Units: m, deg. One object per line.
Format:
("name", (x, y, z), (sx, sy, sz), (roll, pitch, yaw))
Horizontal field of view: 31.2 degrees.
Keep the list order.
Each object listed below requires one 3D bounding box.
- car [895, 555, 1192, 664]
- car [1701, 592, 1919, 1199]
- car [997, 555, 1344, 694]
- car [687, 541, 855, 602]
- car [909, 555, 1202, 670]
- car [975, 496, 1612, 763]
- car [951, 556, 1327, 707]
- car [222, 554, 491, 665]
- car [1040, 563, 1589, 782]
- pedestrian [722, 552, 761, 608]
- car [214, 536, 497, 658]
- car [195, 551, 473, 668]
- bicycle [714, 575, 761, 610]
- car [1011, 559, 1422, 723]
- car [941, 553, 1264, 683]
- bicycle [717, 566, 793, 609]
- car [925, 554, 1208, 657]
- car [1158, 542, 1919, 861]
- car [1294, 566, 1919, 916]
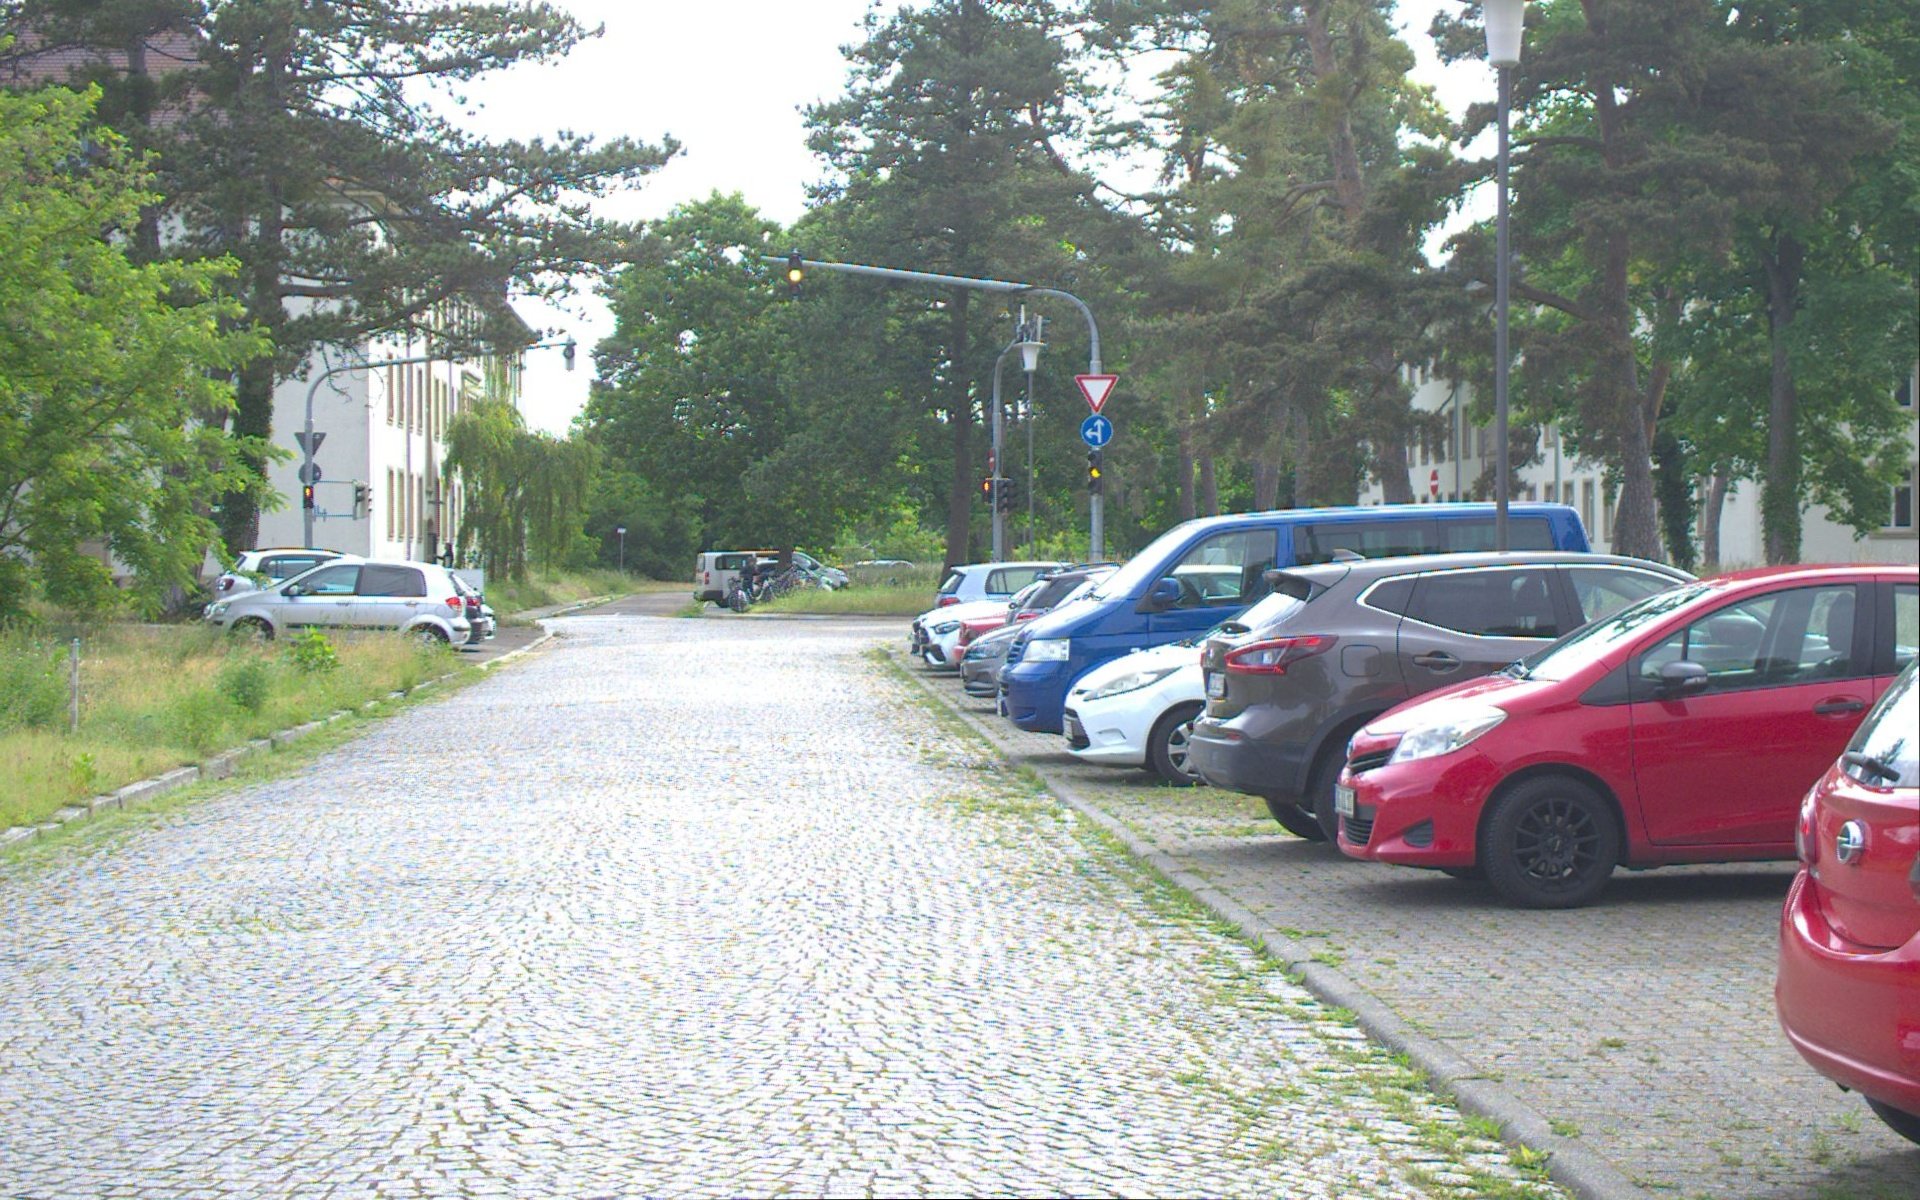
("car", (1.159, 0.124, 48.574), (3.967, 1.416, 1.620), (-1, 0, -7))
("car", (3.936, 0.684, 8.307), (3.825, 1.455, 1.779), (-1, 0, -4))
("car", (2.330, 0.257, 38.523), (3.671, 1.444, 1.524), (-1, 0, -5))
("car", (-6.479, -0.973, 117.757), (5.444, 2.007, 2.269), (1, 0, -12))
("car", (1.250, 0.152, 45.719), (3.671, 1.416, 1.524), (-1, 0, -7))
("car", (2.598, 0.211, 27.473), (4.753, 1.948, 1.932), (-1, 0, -5))
("car", (1.814, 0.308, 35.502), (3.671, 1.444, 1.524), (-1, 0, -5))
("car", (-9.096, 0.136, 52.031), (3.821, 1.567, 1.564), (-1, 0, -4))
("car", (2.514, 0.493, 24.874), (3.671, 1.444, 1.615), (-1, 0, -6))
("pedestrian", (-6.337, -0.572, 99.783), (1.033, 1.608, 0.758), (1, 0, -10))
("car", (-9.630, -0.061, 54.993), (4.262, 1.834, 1.744), (-1, 0, -4))
("car", (-8.989, 0.126, 49.616), (3.821, 1.567, 1.565), (-1, 0, -6))
("bicycle", (-6.199, -0.220, 95.765), (0.620, 0.942, 1.663), (1, 1, -31))
("car", (2.409, 0.374, 32.751), (3.671, 1.444, 1.524), (-1, 0, -5))
("car", (1.684, 0.203, 41.198), (3.671, 1.444, 1.524), (-1, 0, -5))
("bicycle", (-5.942, -0.355, 99.560), (2.136, 1.210, 0.622), (1, 0, -9))
("car", (1.566, 0.074, 51.250), (3.967, 1.416, 1.620), (-1, 0, -7))
("car", (3.210, 0.503, 18.524), (4.028, 1.547, 1.751), (-1, 0, -6))
("car", (3.575, 0.594, 15.889), (3.791, 1.455, 1.751), (-1, 0, -3))
